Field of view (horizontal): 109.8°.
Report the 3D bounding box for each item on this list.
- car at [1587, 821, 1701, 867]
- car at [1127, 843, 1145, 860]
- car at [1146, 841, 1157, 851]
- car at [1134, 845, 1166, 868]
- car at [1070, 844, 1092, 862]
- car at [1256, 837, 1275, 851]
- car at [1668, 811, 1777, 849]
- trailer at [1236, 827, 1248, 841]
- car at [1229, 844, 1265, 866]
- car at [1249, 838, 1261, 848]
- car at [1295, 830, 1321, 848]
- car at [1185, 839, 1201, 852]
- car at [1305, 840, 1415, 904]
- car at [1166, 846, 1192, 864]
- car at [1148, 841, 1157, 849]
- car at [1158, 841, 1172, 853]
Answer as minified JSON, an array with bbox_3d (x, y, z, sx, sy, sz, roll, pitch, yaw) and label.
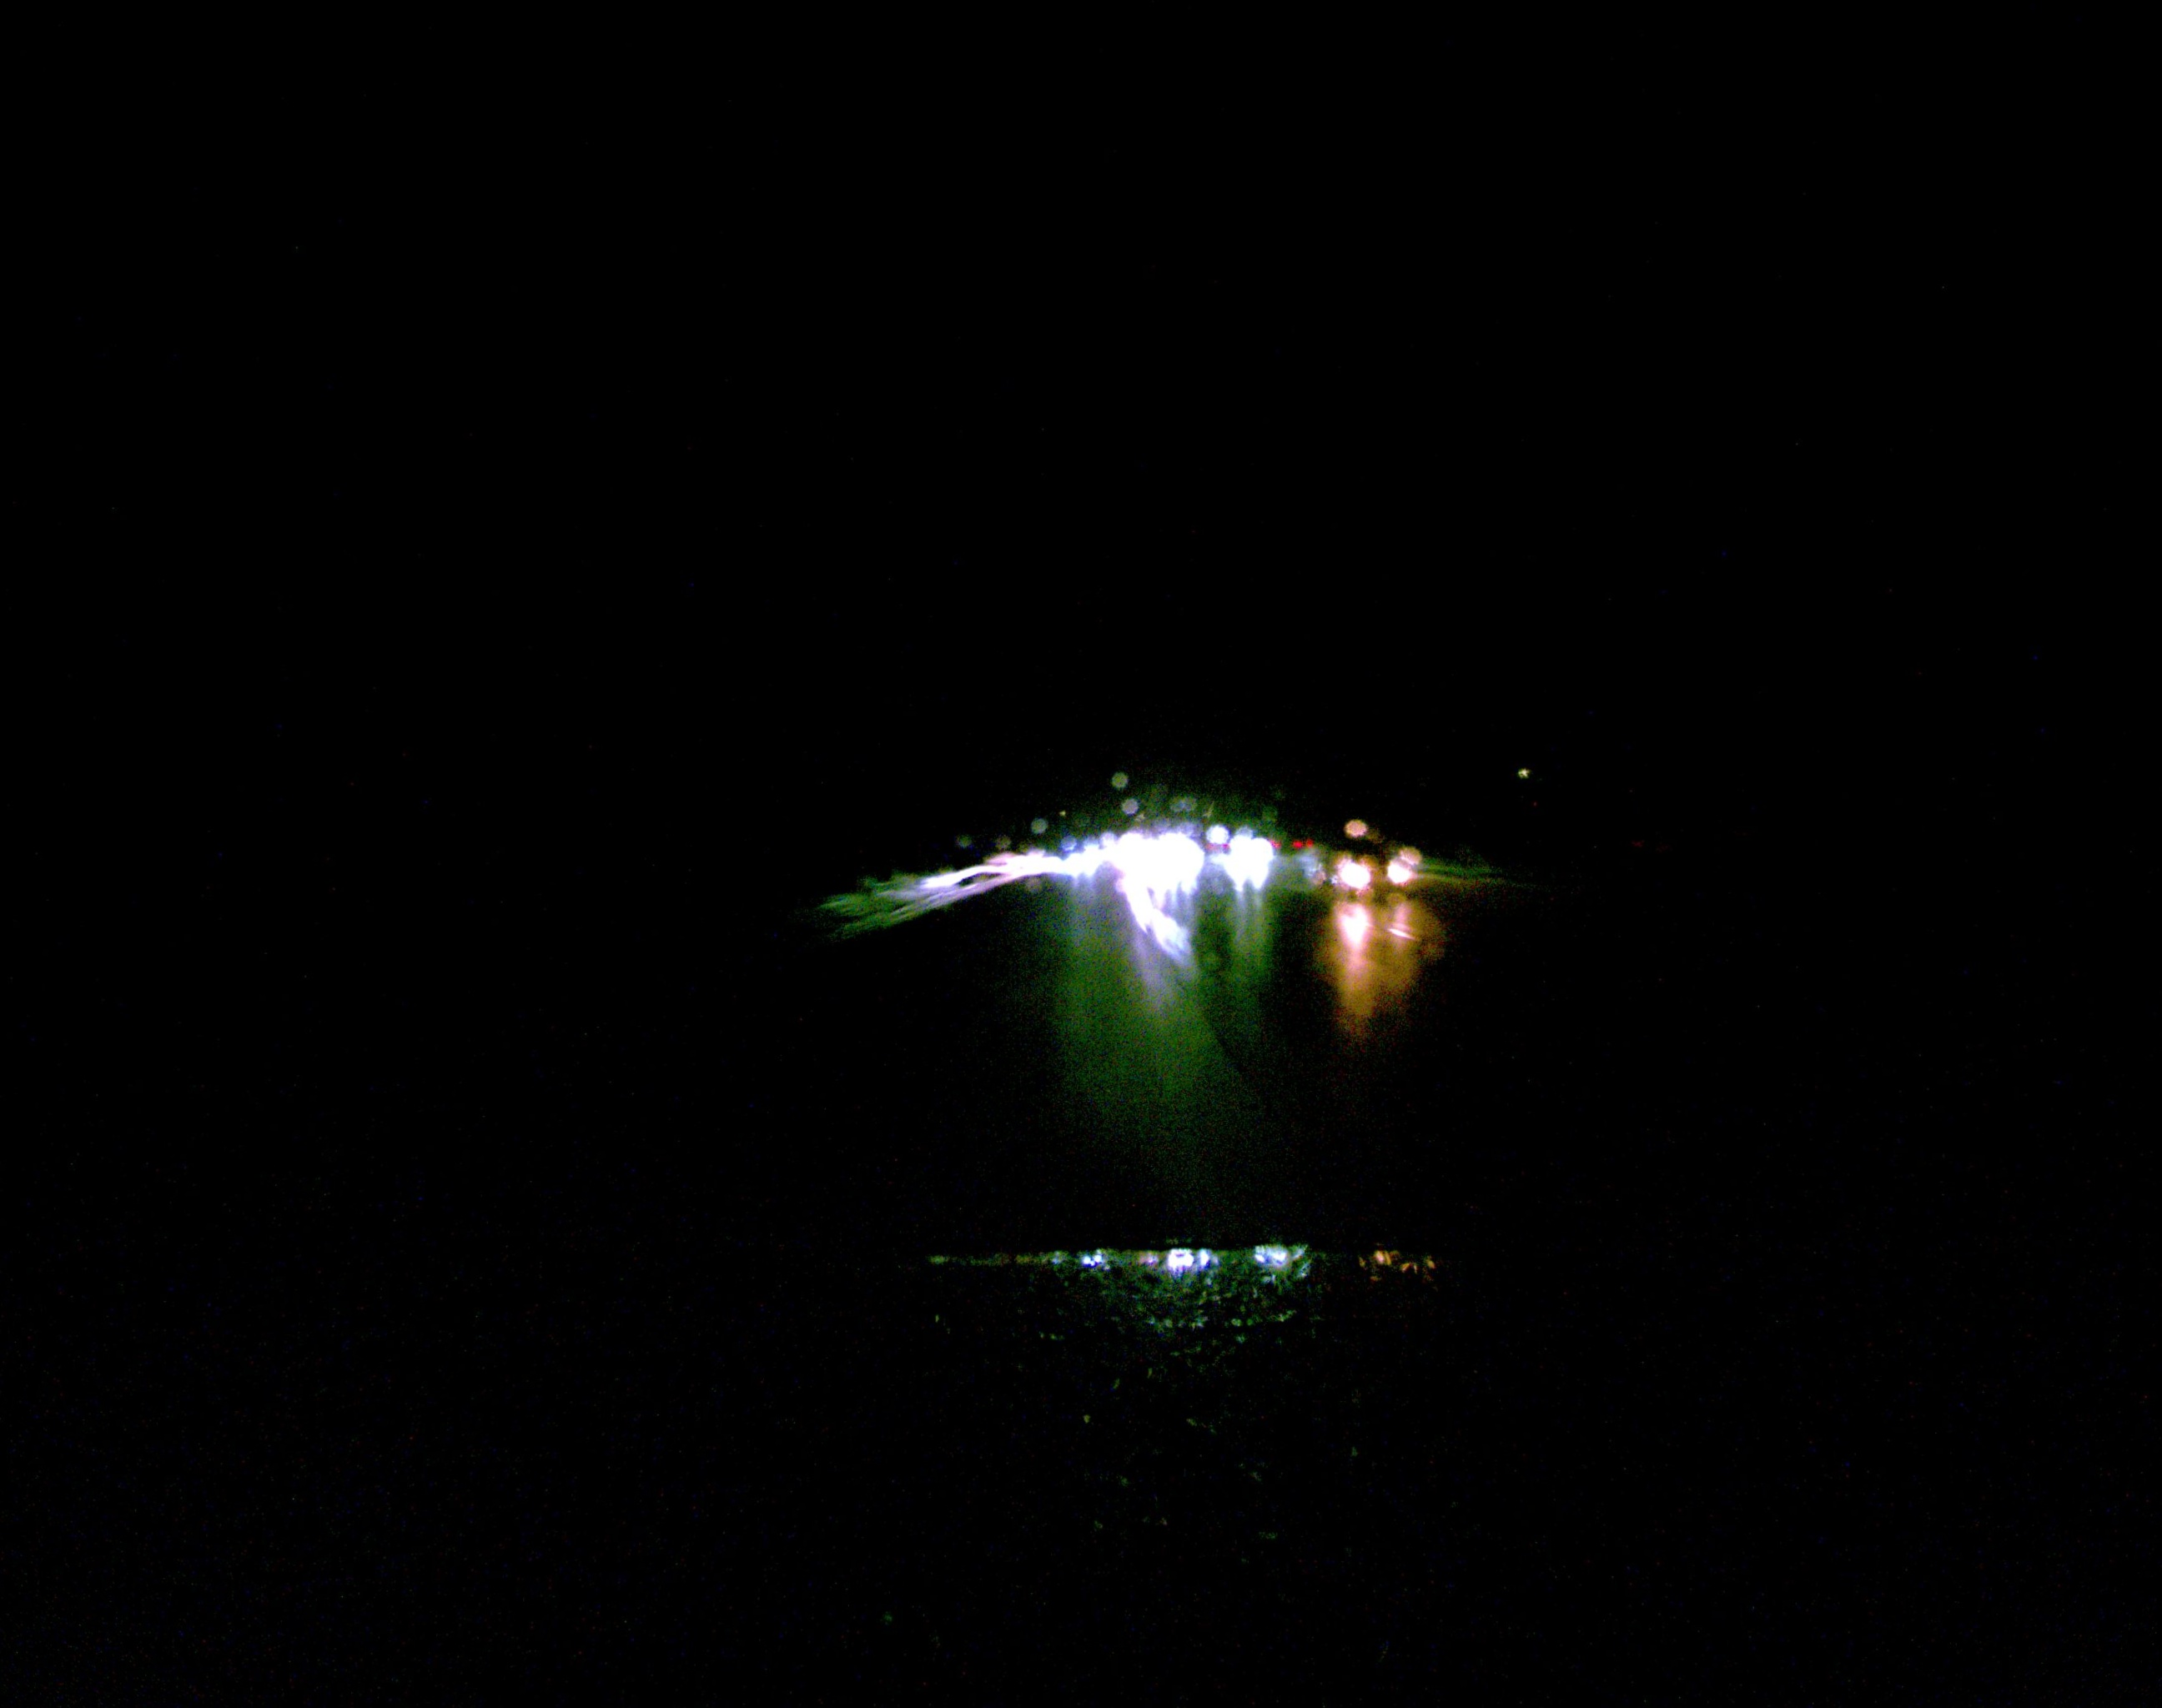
[{"bbox_3d":[24.488,-0.428,33.253,1.998,1.747,3.999,-5,1,1],"label":"car"},{"bbox_3d":[7.086,-0.346,97.919,1.998,2.002,4.000,-5,1,4],"label":"car"},{"bbox_3d":[14.649,-1.663,158.431,1.929,1.783,4.000,-5,1,4],"label":"car"},{"bbox_3d":[5.098,0.156,56.672,1.921,1.587,3.999,-3,1,0],"label":"car"},{"bbox_3d":[0.052,-0.110,81.548,1.998,1.737,4.100,-5,1,3],"label":"car"},{"bbox_3d":[30.054,-1.672,123.948,1.998,2.002,4.278,-5,1,3],"label":"car"},{"bbox_3d":[28.593,-1.023,34.013,1.665,1.482,3.704,-5,1,1],"label":"car"},{"bbox_3d":[46.727,-5.718,220.901,2.657,3.709,13.951,-5,1,11],"label":"trailer"},{"bbox_3d":[12.960,0.023,59.524,1.921,1.587,3.999,-3,1,0],"label":"car"},{"bbox_3d":[38.726,-2.518,169.298,1.998,1.970,4.000,-5,1,4],"label":"car"},{"bbox_3d":[28.422,-1.882,95.092,1.998,2.002,4.279,-5,1,3],"label":"car"},{"bbox_3d":[17.202,-1.315,116.863,1.929,1.783,4.001,-5,1,5],"label":"car"},{"bbox_3d":[7.841,0.448,21.721,1.726,1.587,4.000,-3,1,2],"label":"car"},{"bbox_3d":[9.455,0.098,73.478,1.921,1.587,3.999,-3,1,0],"label":"car"},{"bbox_3d":[19.736,-2.471,209.154,1.998,2.002,4.000,-5,1,3],"label":"car"},{"bbox_3d":[13.697,-1.120,123.881,1.929,1.783,4.000,-5,1,4],"label":"car"}]
